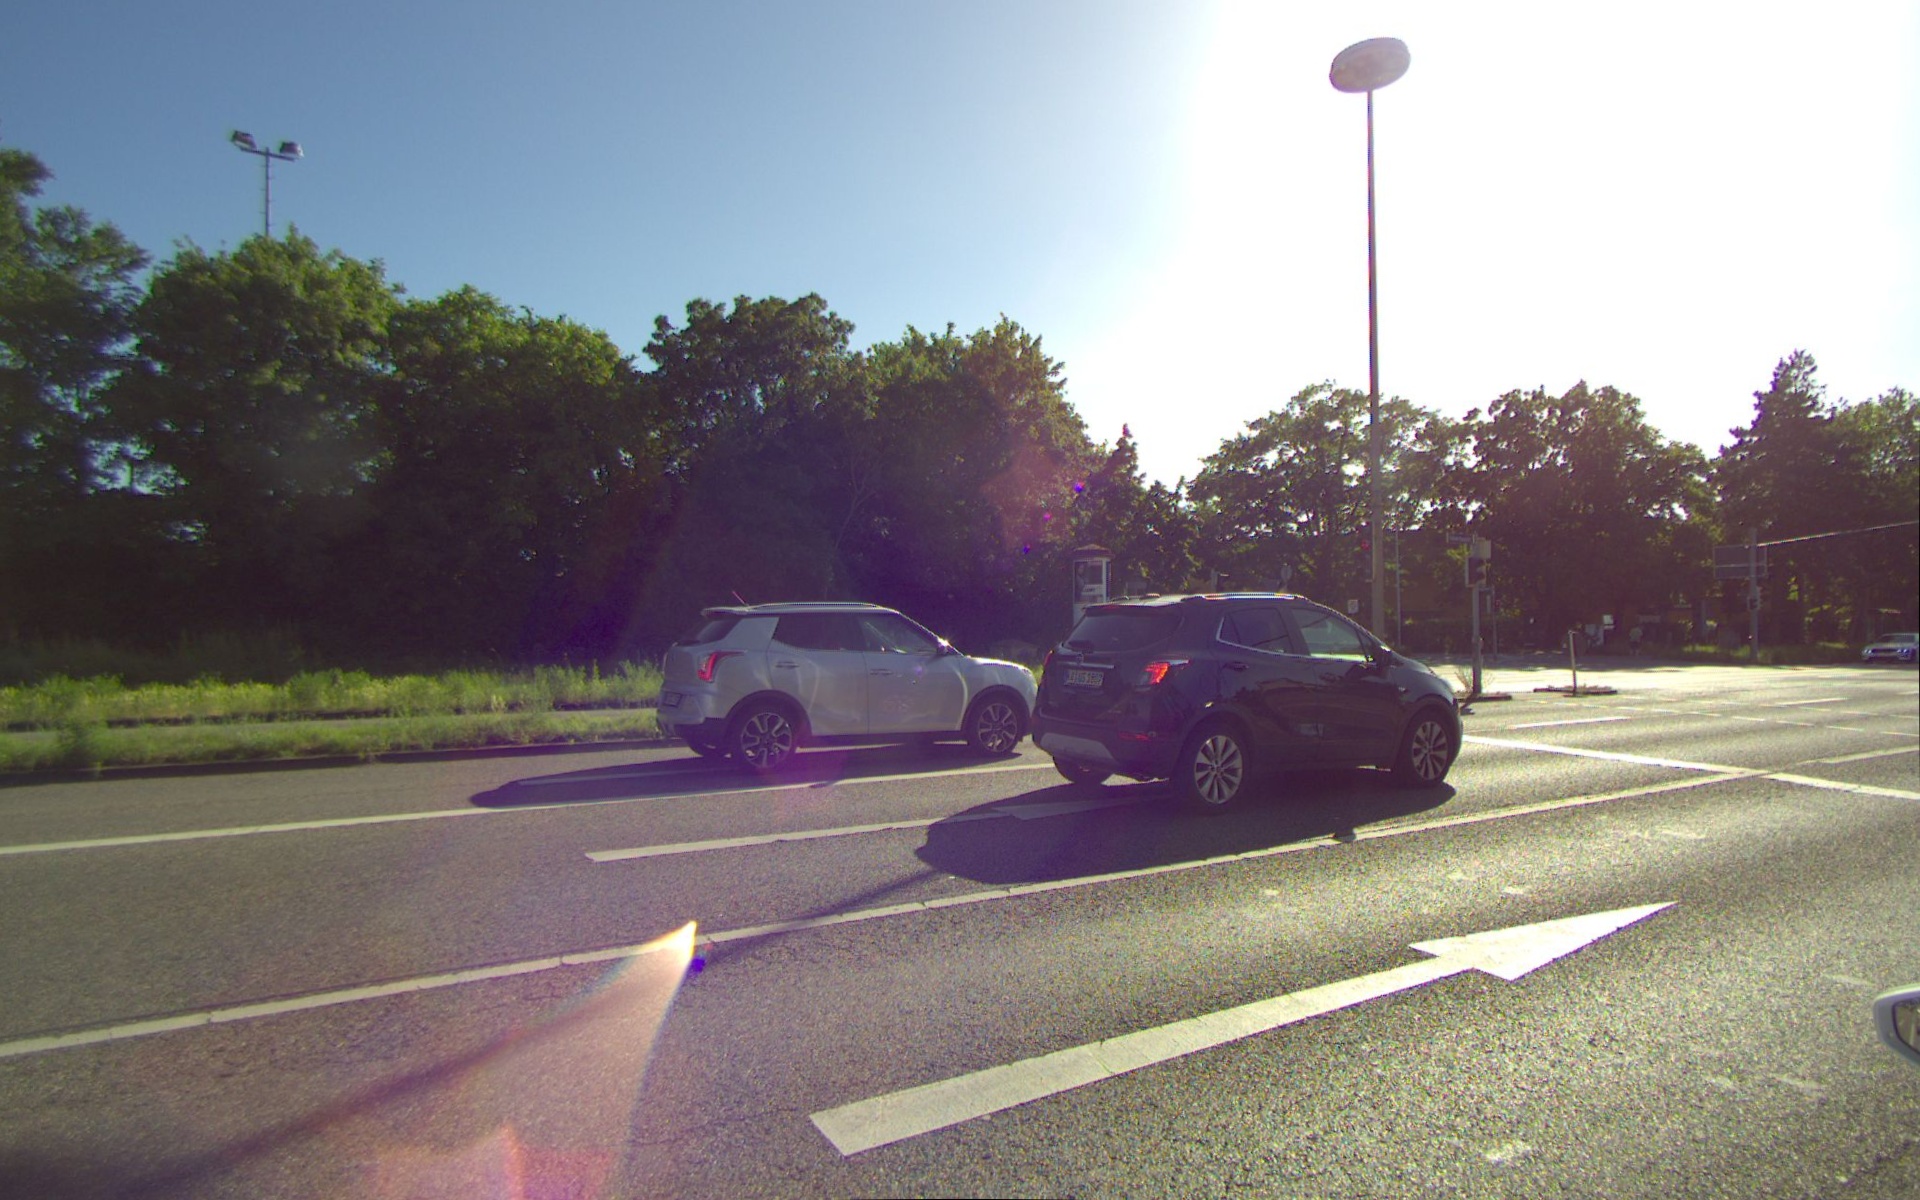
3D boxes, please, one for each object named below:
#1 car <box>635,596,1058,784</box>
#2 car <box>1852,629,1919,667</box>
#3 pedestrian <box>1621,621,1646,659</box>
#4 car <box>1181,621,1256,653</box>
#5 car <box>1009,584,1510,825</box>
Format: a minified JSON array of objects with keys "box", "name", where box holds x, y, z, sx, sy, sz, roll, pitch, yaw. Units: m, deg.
[{"box":[-1.133,0.837,10.539,4.058,1.631,1.776,1,-2,-30],"name":"car"},{"box":[45.024,2.312,48.375,4.210,1.706,1.855,2,0,-30],"name":"car"},{"box":[33.586,2.000,50.113,0.542,1.859,0.843,1,-2,-26],"name":"pedestrian"},{"box":[13.124,1.874,51.187,1.841,1.442,3.914,2,0,-19],"name":"car"},{"box":[2.705,0.779,8.759,4.366,1.653,1.688,1,-2,-30],"name":"car"}]
